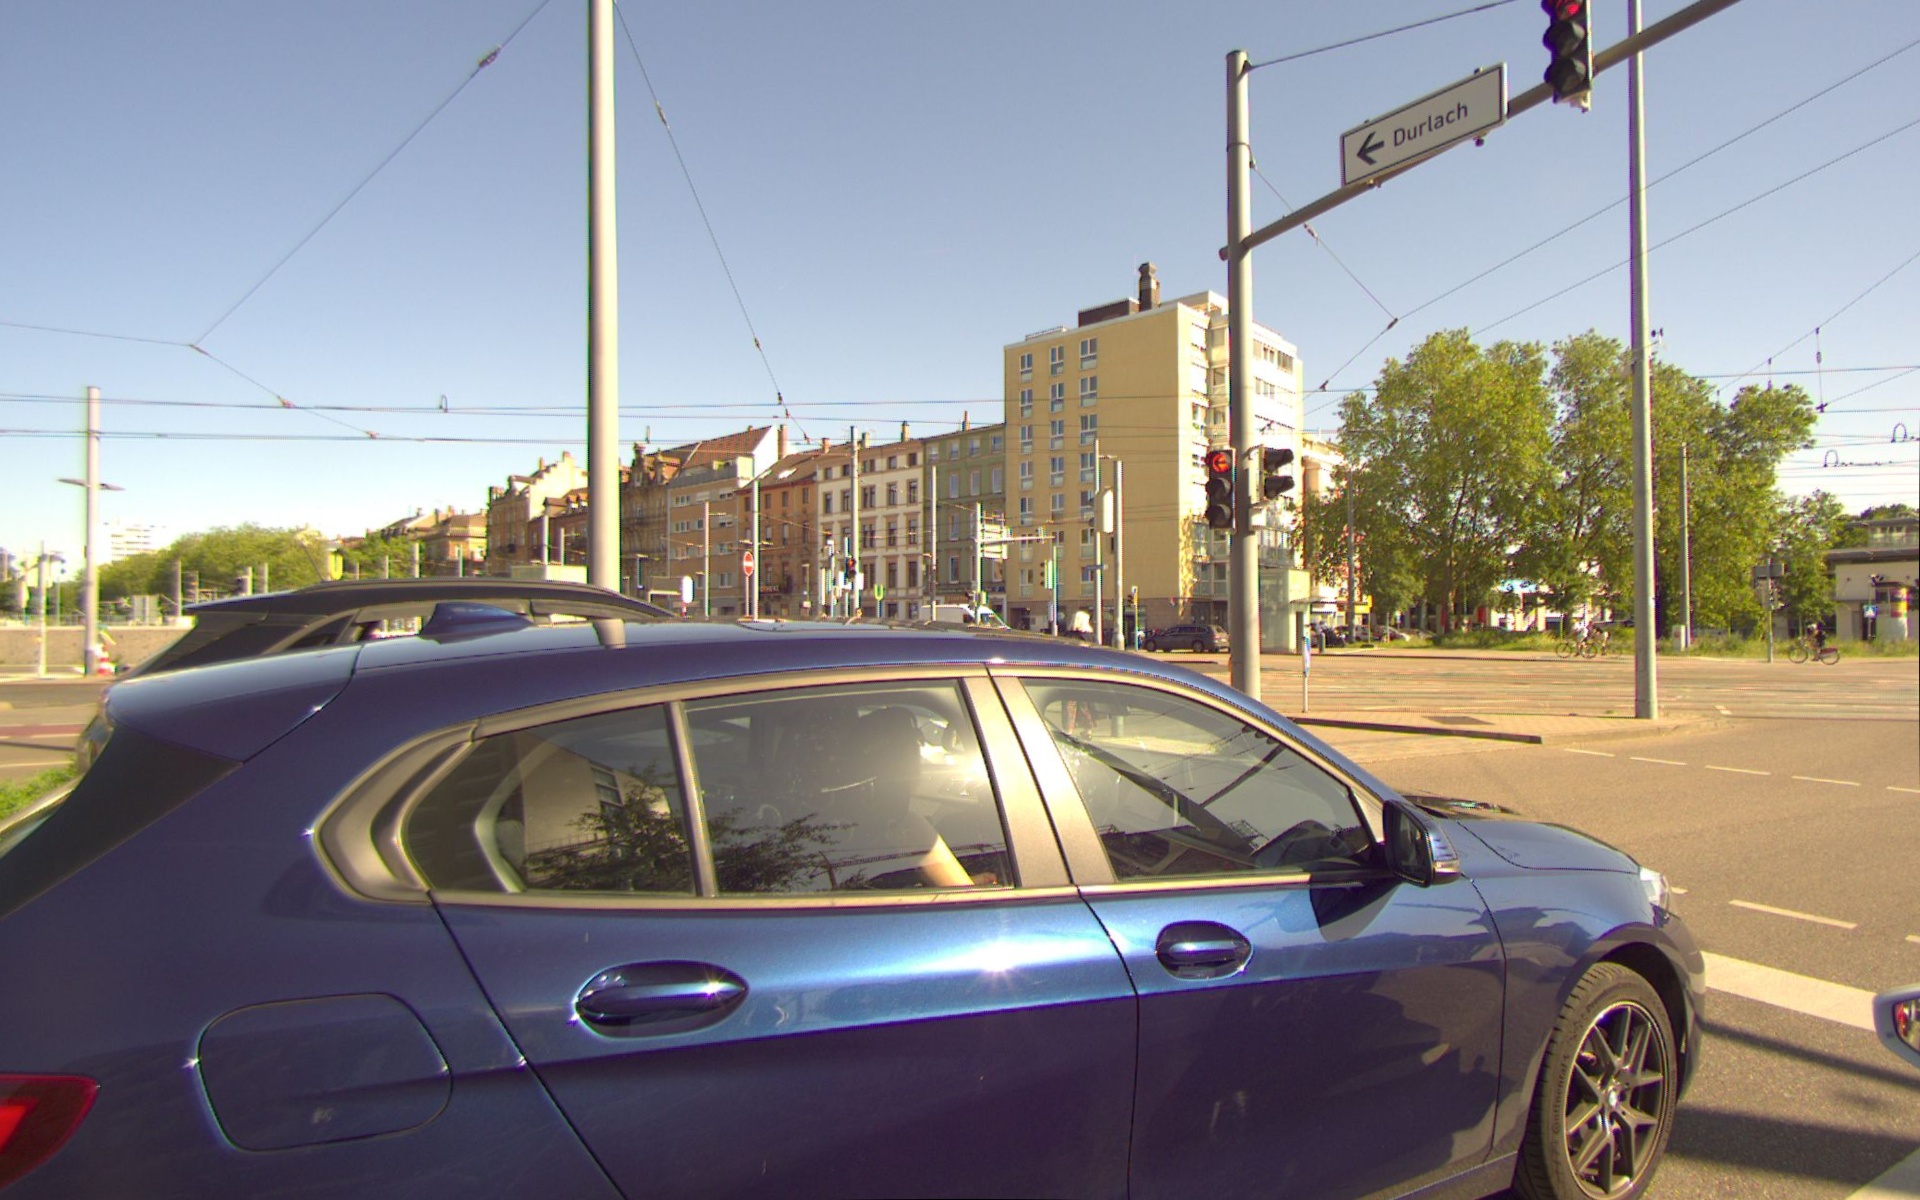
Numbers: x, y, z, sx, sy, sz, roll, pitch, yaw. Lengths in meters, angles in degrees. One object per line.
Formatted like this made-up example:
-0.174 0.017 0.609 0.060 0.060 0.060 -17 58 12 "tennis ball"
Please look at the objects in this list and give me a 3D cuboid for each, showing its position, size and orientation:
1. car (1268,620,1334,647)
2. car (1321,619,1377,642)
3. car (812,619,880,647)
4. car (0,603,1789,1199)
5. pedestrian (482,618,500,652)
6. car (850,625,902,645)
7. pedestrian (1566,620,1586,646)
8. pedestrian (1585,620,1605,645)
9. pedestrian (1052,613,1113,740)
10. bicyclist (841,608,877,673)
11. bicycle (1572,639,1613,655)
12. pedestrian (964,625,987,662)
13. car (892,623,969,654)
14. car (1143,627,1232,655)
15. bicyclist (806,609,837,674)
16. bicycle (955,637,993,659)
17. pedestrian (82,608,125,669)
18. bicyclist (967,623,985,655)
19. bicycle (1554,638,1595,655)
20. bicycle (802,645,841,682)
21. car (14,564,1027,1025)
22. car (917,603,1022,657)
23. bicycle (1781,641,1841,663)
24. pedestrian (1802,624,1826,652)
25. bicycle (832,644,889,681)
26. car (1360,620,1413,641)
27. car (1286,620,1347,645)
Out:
21.647 2.132 63.816 3.691 1.684 1.586 -1 -2 42 "car"
29.940 2.355 77.323 3.691 1.684 1.586 -1 -2 42 "car"
-7.065 1.999 62.090 4.244 1.675 1.849 -1 -2 40 "car"
0.181 0.783 2.571 3.984 1.464 1.703 1 0 -30 "car"
-23.898 1.786 51.225 0.672 1.735 0.793 1 -1 -38 "pedestrian"
-6.198 2.571 74.486 1.749 1.446 3.863 -1 -2 39 "car"
28.855 1.548 47.044 0.738 1.220 0.422 -1 -1 38 "pedestrian"
30.173 1.538 47.719 0.739 1.142 0.422 -1 -2 41 "pedestrian"
1.534 0.951 12.640 0.746 1.575 0.357 0 -1 3 "pedestrian"
-2.680 1.066 26.638 0.672 1.676 0.777 1 -1 -35 "bicyclist"
30.075 2.231 47.791 1.610 0.727 0.422 -1 -2 41 "bicycle"
0.684 1.873 43.894 0.669 1.593 0.740 1 -2 -45 "pedestrian"
-1.707 2.149 56.496 4.246 1.675 1.848 -1 -2 42 "car"
11.752 2.097 52.094 4.163 1.419 1.849 -1 -2 41 "car"
-3.619 1.069 26.190 0.668 1.676 0.782 0 -1 -19 "bicyclist"
0.644 2.196 46.261 1.666 0.958 0.614 1 -1 -30 "bicycle"
-27.024 1.210 31.703 0.872 1.879 0.683 1 -1 -30 "pedestrian"
0.731 1.789 46.327 0.609 1.462 0.614 1 -1 -30 "bicyclist"
28.788 2.191 47.084 1.609 0.769 0.422 -1 -2 38 "bicycle"
-3.634 1.631 26.251 0.668 0.890 1.891 0 -1 -18 "bicycle"
-1.801 0.683 5.069 3.959 1.537 1.751 1 -1 -28 "car"
0.434 1.497 50.543 5.341 2.541 1.990 -1 -2 42 "car"
37.368 2.275 44.110 1.983 0.925 0.559 -1 -2 43 "bicycle"
37.445 1.648 44.047 0.785 1.220 0.557 -1 -2 43 "pedestrian"
-2.648 1.636 26.580 0.672 0.890 1.880 1 -2 -35 "bicycle"
34.927 2.480 82.356 3.691 1.684 1.586 -1 -2 42 "car"
24.468 2.210 69.008 3.691 1.684 1.586 -1 -2 42 "car"
